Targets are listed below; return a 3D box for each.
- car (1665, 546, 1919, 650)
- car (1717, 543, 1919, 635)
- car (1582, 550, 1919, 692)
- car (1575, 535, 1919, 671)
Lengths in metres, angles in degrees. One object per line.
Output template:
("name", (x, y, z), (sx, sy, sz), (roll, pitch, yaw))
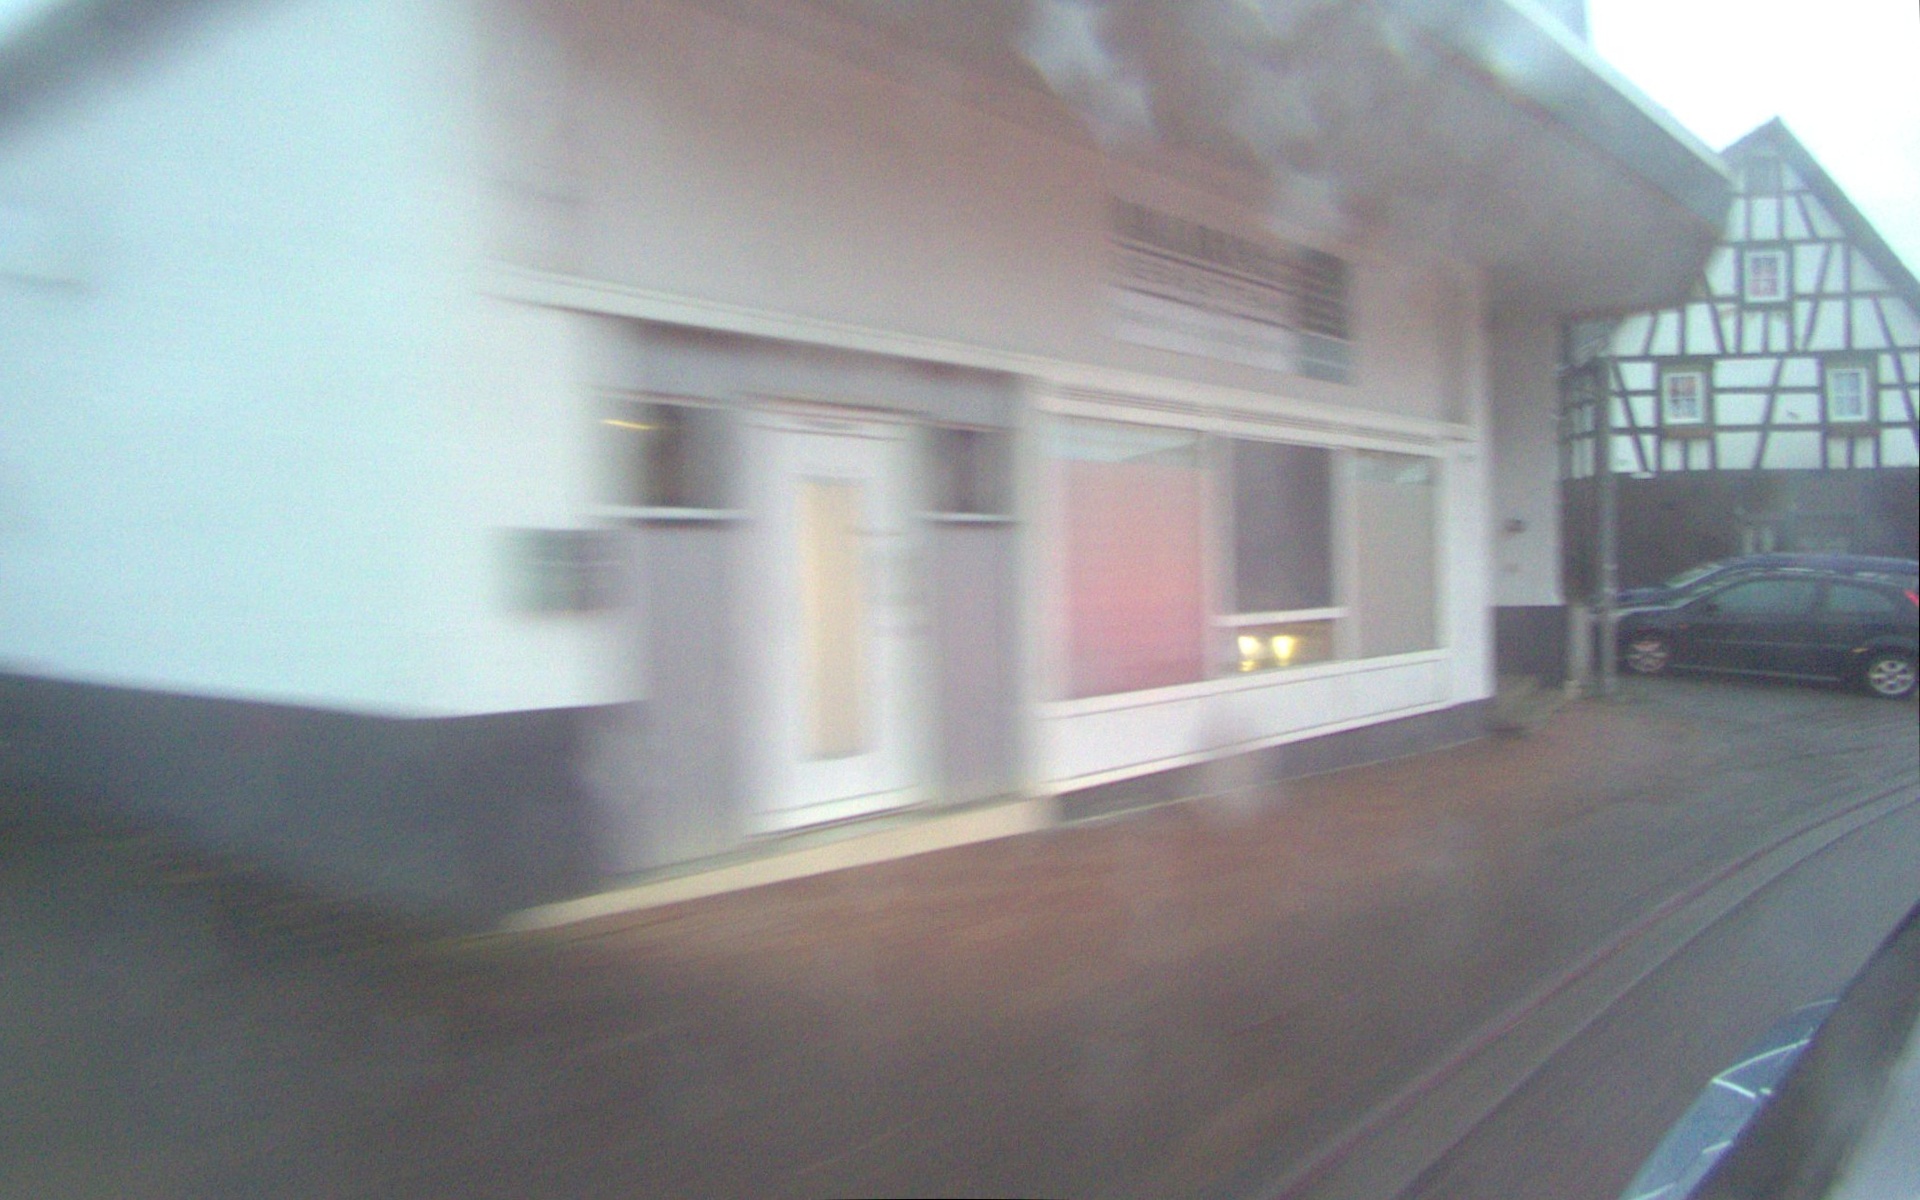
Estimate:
("car", (14.653, -0.077, 17.323), (4.006, 1.437, 1.797), (5, 6, 30))
("car", (17.319, -0.228, 19.535), (3.941, 1.533, 1.586), (4, 6, 24))
("car", (10.683, 0.192, 13.528), (3.863, 1.466, 1.870), (5, 6, 30))
("car", (12.181, -0.054, 15.587), (4.438, 1.680, 1.838), (5, 6, 29))
